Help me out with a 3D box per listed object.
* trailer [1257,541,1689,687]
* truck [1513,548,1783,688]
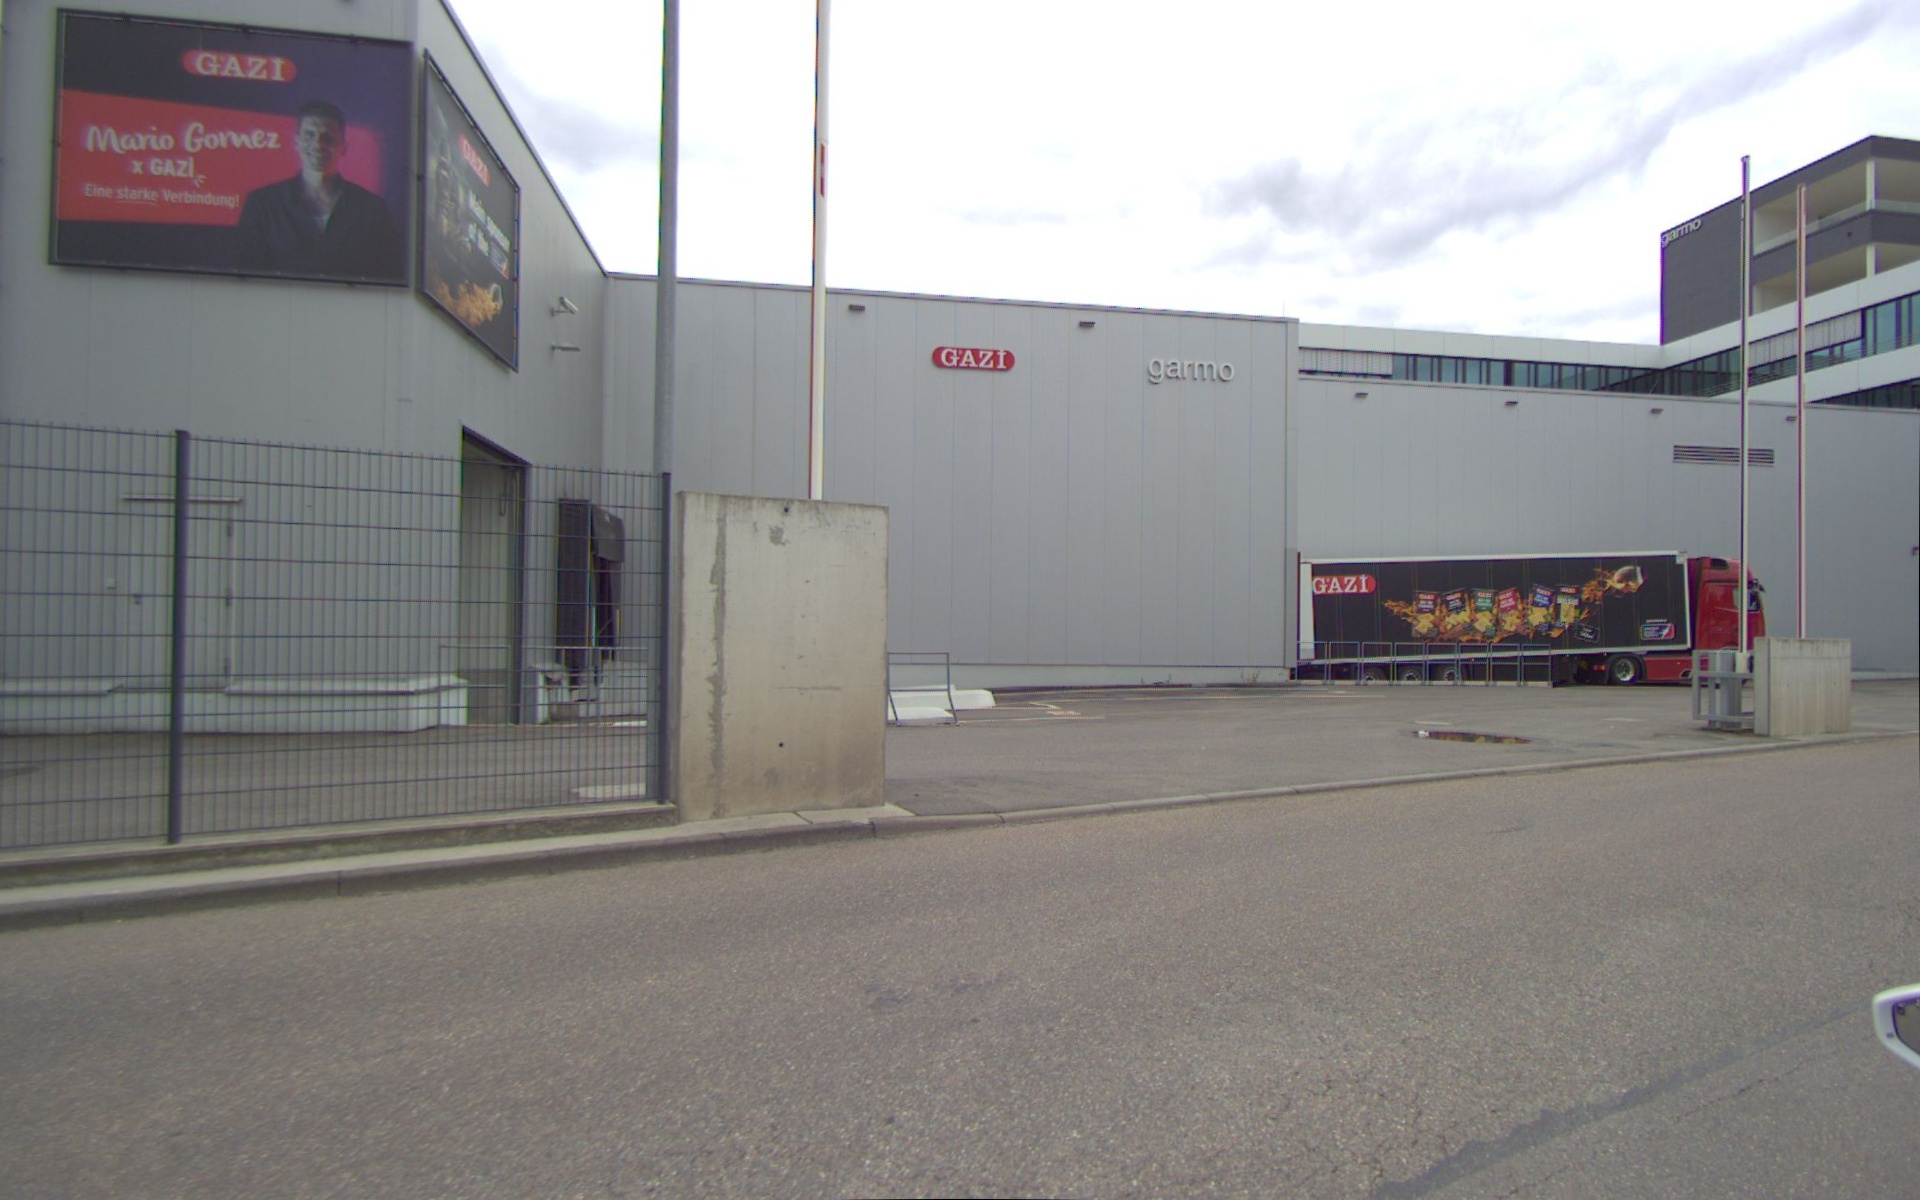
[{"bbox_3d":[15.386,0.492,30.271,12.387,4.084,2.747,1,-1,-9],"label":"trailer"},{"bbox_3d":[21.276,0.587,31.210,6.963,4.084,2.747,1,-1,-9],"label":"truck"}]
